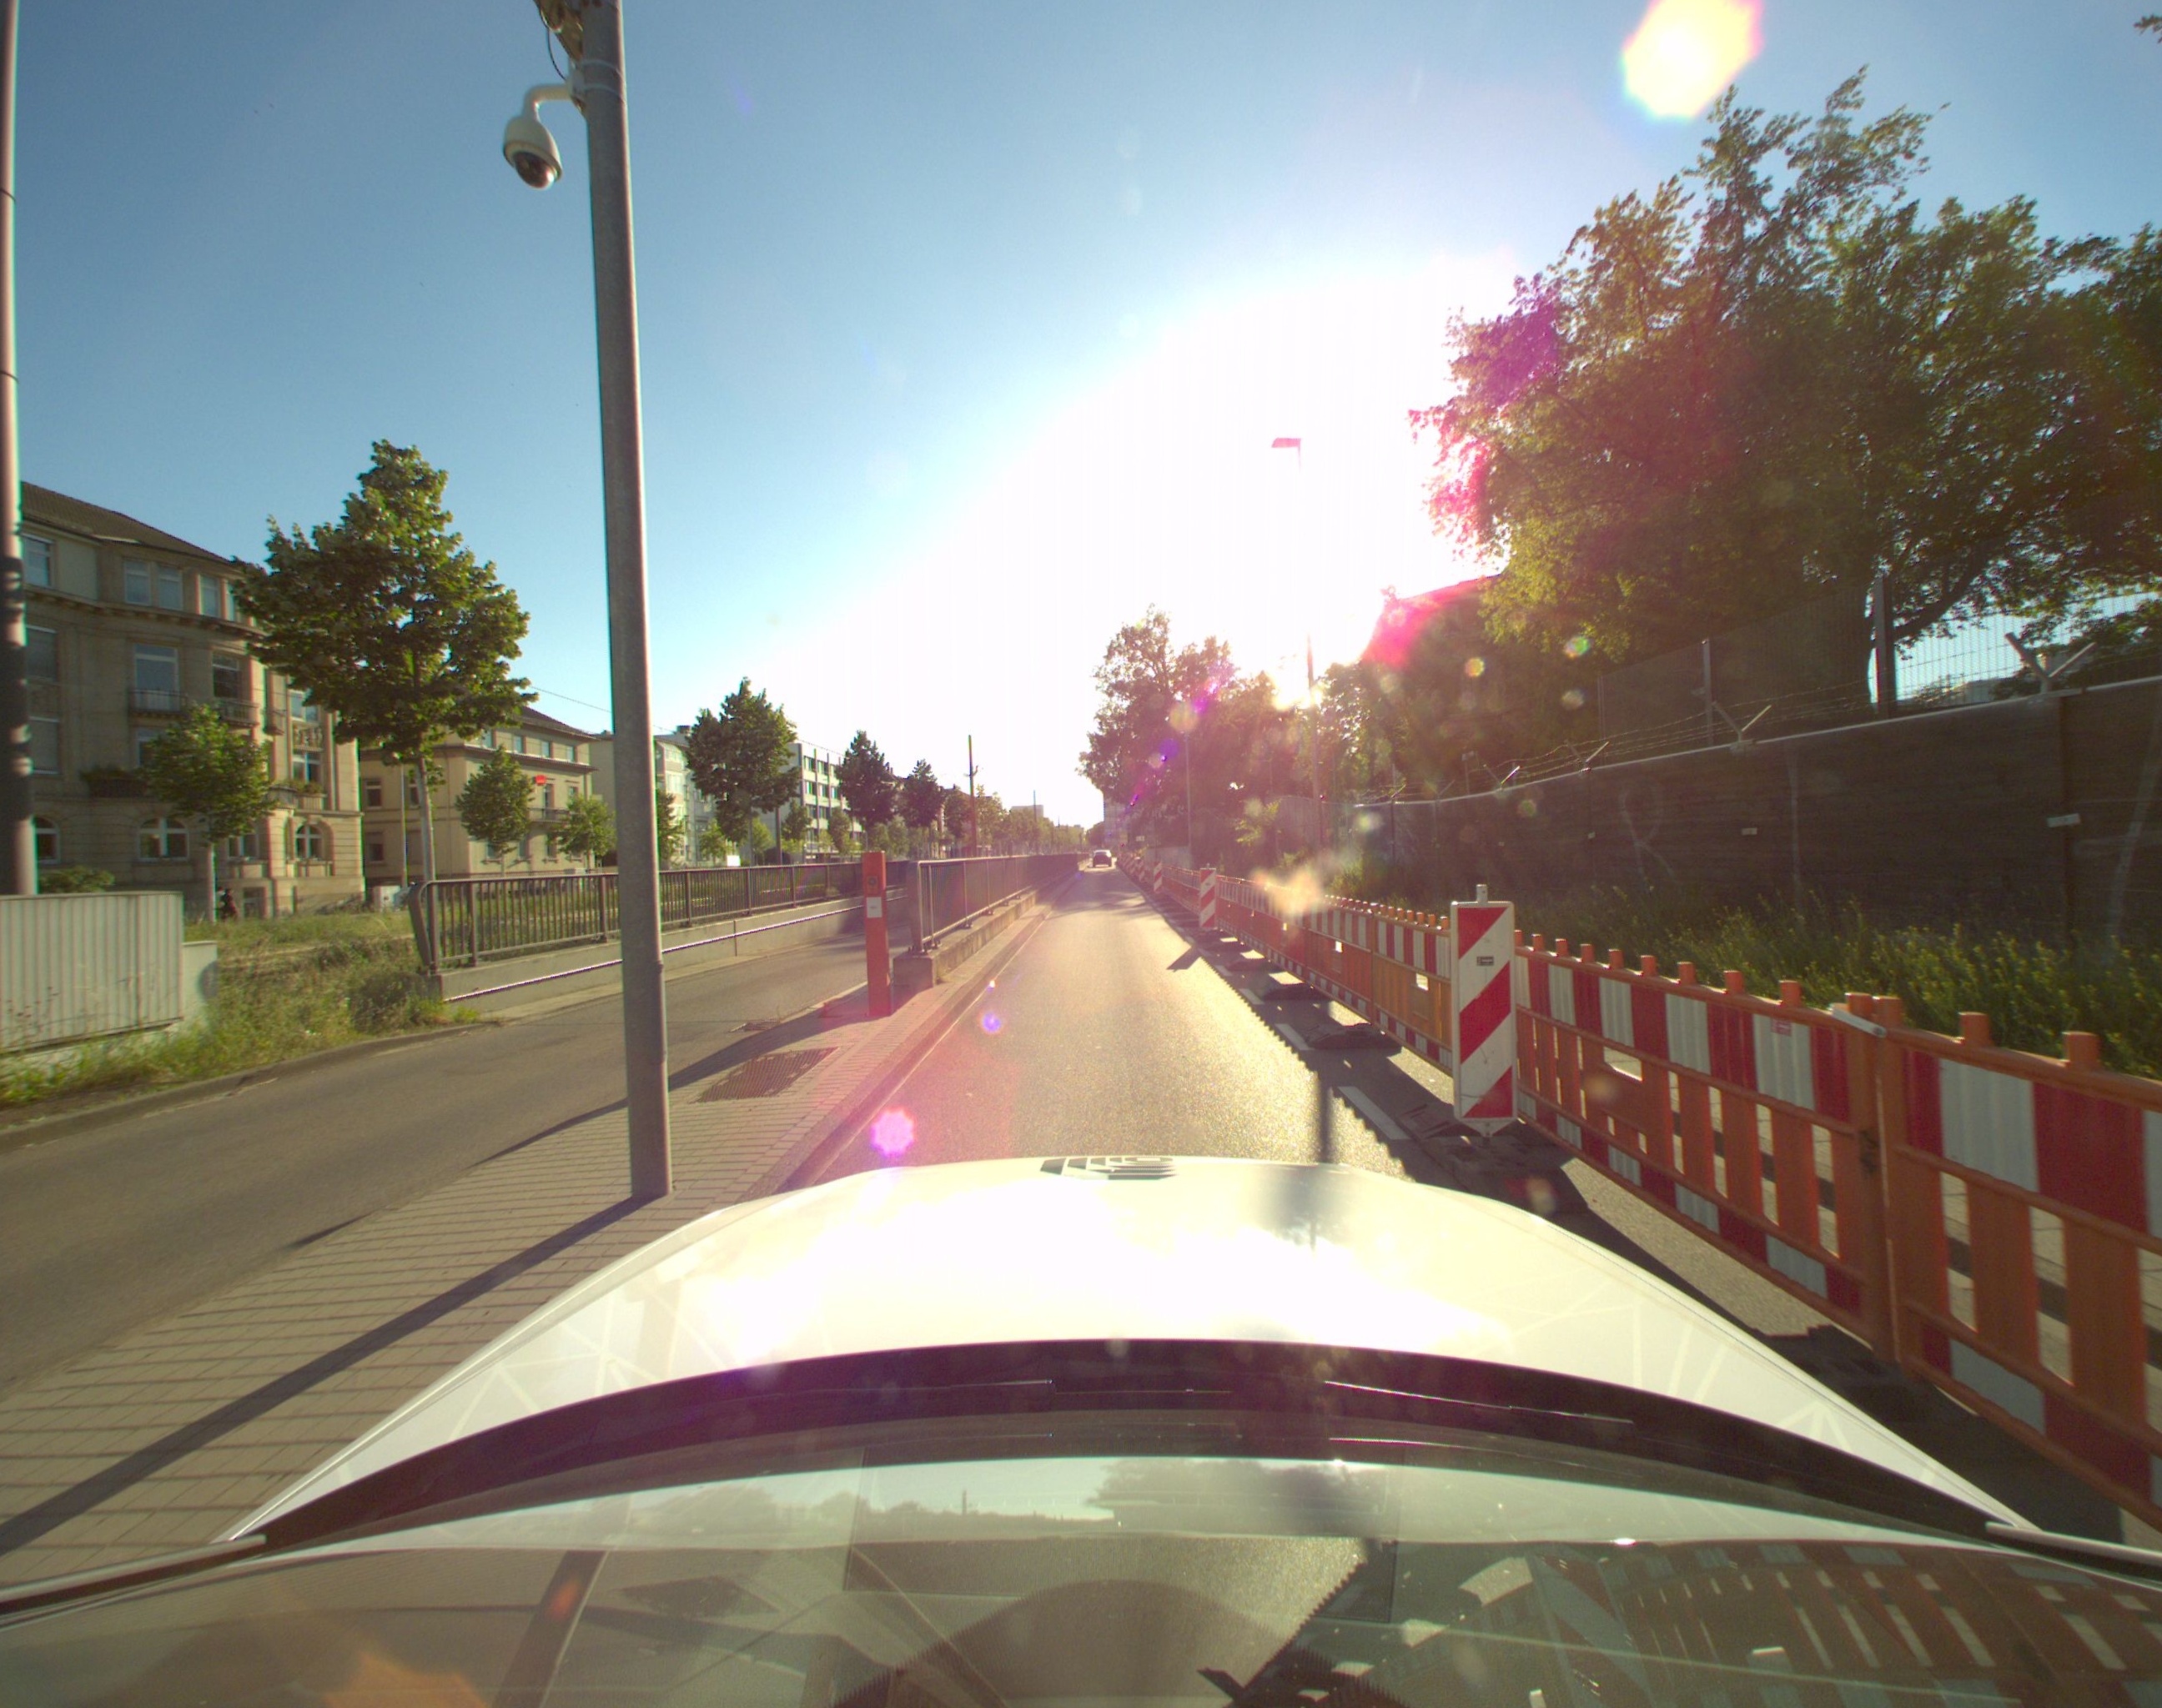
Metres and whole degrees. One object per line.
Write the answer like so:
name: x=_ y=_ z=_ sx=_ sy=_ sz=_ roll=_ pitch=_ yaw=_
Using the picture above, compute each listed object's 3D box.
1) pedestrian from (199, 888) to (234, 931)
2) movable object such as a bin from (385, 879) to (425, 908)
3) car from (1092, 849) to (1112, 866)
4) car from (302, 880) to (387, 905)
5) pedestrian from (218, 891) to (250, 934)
pedestrian: x=-35.996 y=2.308 z=33.919 sx=0.653 sy=1.720 sz=0.653 roll=-2 pitch=0 yaw=1
movable object such as a bin: x=-36.547 y=2.139 z=44.033 sx=1.201 sy=1.429 sz=1.080 roll=-3 pitch=0 yaw=1
car: x=2.241 y=0.366 z=85.624 sx=1.997 sy=1.659 sz=4.002 roll=0 pitch=0 yaw=2
car: x=-46.958 y=2.464 z=51.951 sx=3.970 sy=1.469 sz=1.683 roll=-1 pitch=-1 yaw=2
pedestrian: x=-35.226 y=2.435 z=33.877 sx=0.553 sy=1.720 sz=0.653 roll=-2 pitch=0 yaw=1
